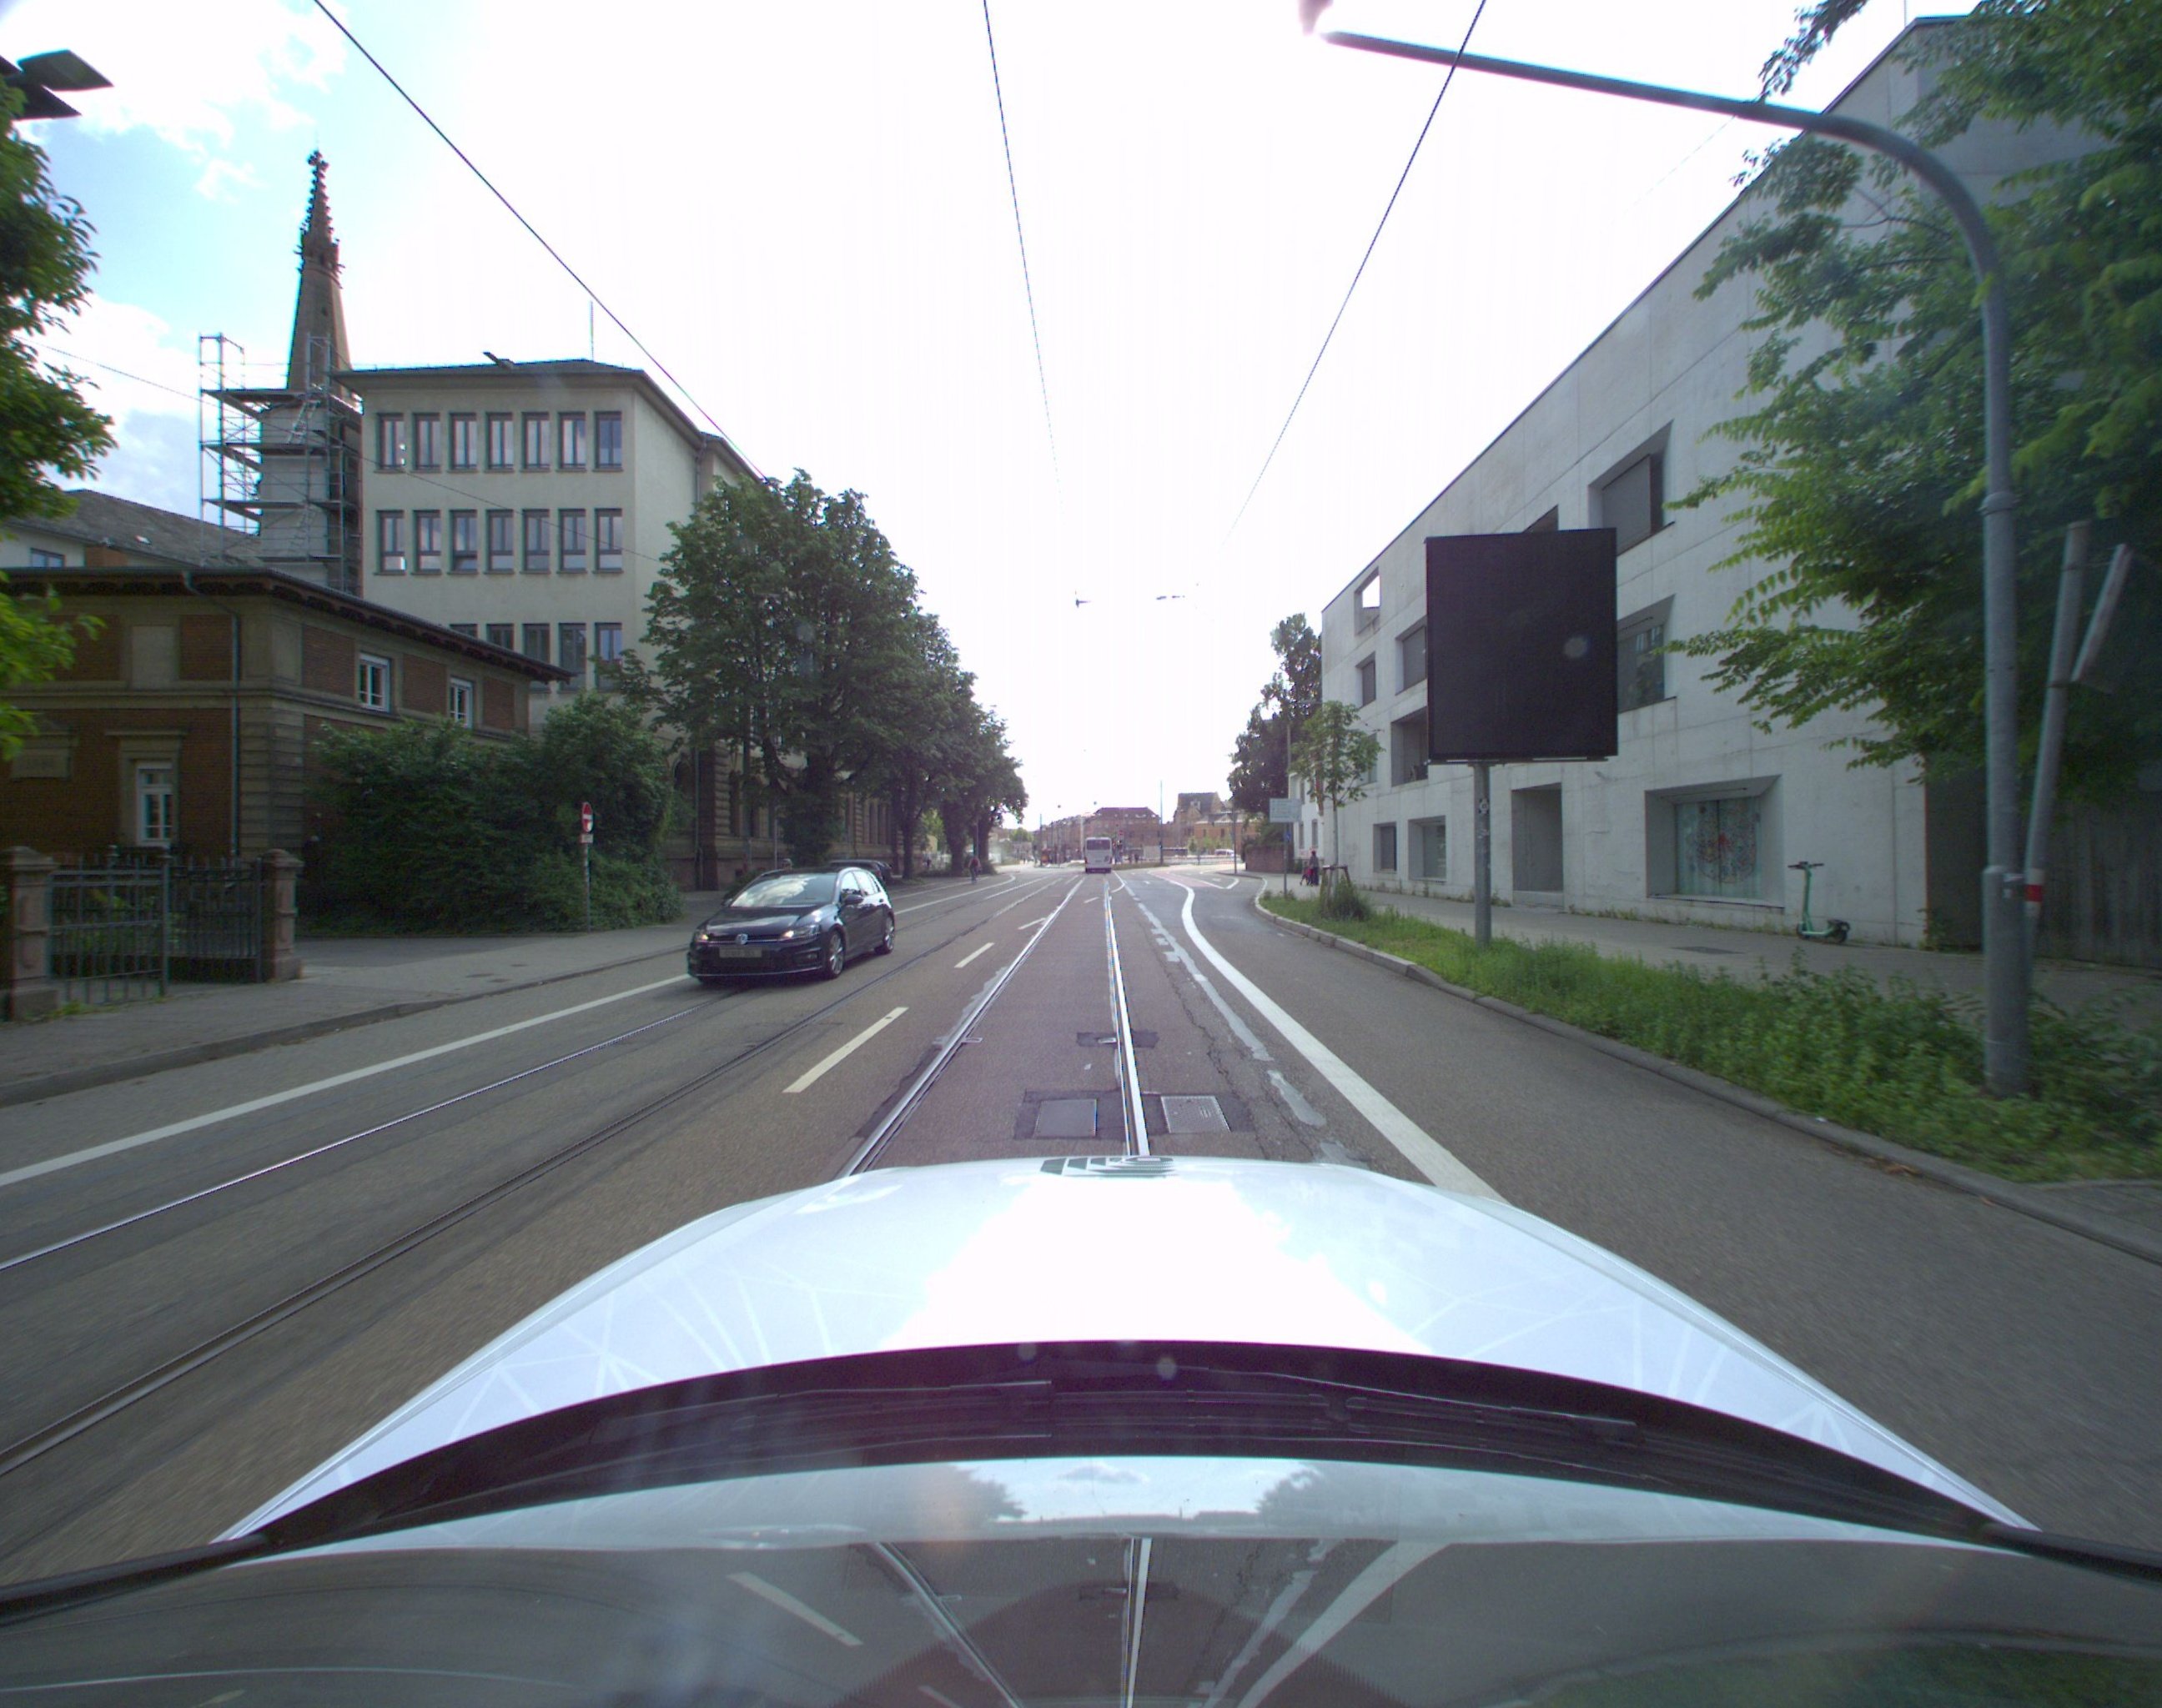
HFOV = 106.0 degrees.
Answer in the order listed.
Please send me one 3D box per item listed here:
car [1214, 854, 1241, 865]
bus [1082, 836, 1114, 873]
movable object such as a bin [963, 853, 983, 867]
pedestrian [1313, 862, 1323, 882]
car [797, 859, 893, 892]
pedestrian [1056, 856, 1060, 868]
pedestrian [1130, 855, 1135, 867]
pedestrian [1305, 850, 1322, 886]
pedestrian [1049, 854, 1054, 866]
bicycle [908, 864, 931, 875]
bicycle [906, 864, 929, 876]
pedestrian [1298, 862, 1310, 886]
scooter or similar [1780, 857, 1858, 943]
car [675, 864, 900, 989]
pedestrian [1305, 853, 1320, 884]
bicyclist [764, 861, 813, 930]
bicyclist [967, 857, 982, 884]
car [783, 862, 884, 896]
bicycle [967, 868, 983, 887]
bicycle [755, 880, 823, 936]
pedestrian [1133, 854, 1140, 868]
[{"bbox_3d":[31.179,1.178,173.381,2.311,2.319,5.528,0,-1,-35],"label":"car"},{"bbox_3d":[1.613,0.105,80.033,2.908,3.328,12.206,0,-1,1],"label":"bus"},{"bbox_3d":[-19.313,1.093,145.875,2.630,2.574,4.004,-1,-1,4],"label":"movable object such as a bin"},{"bbox_3d":[12.107,0.919,41.666,0.342,1.010,0.396,-2,1,-8],"label":"pedestrian"},{"bbox_3d":[-11.689,1.042,40.378,4.254,1.550,1.909,0,0,-30],"label":"car"},{"bbox_3d":[-3.525,1.254,125.323,0.609,1.885,0.794,-1,0,2],"label":"pedestrian"},{"bbox_3d":[7.132,0.977,112.835,0.404,1.736,0.625,-1,-1,33],"label":"pedestrian"},{"bbox_3d":[11.664,0.702,40.871,0.681,1.724,0.748,-2,1,7],"label":"pedestrian"},{"bbox_3d":[-4.704,0.904,130.079,0.609,1.885,0.794,-1,0,2],"label":"pedestrian"},{"bbox_3d":[-16.344,1.571,82.531,2.107,1.168,0.730,0,-1,-1],"label":"bicycle"},{"bbox_3d":[-16.302,1.558,81.332,2.107,1.168,0.730,0,-1,-1],"label":"bicycle"},{"bbox_3d":[11.506,1.010,41.979,0.424,1.200,0.402,-3,1,-31],"label":"pedestrian"},{"bbox_3d":[10.690,0.641,11.821,0.320,1.181,1.152,-1,0,14],"label":"scooter or similar"},{"bbox_3d":[-3.915,0.886,11.616,1.682,1.402,3.931,-2,0,1],"label":"car"},{"bbox_3d":[12.035,0.761,42.369,0.519,1.580,0.547,-3,1,-9],"label":"pedestrian"},{"bbox_3d":[-6.745,0.948,18.813,0.596,1.492,0.883,-6,0,4],"label":"bicyclist"},{"bbox_3d":[-6.103,0.956,46.704,0.689,1.519,0.867,-2,0,-2],"label":"bicyclist"},{"bbox_3d":[-11.476,1.109,37.796,4.250,1.447,1.778,-1,0,-26],"label":"car"},{"bbox_3d":[-6.093,1.356,46.723,0.697,1.017,1.818,-2,0,-2],"label":"bicycle"},{"bbox_3d":[-6.712,1.218,18.851,0.600,1.097,2.025,-6,0,4],"label":"bicycle"},{"bbox_3d":[7.784,1.012,113.492,0.605,1.885,0.799,-1,-1,35],"label":"pedestrian"}]
